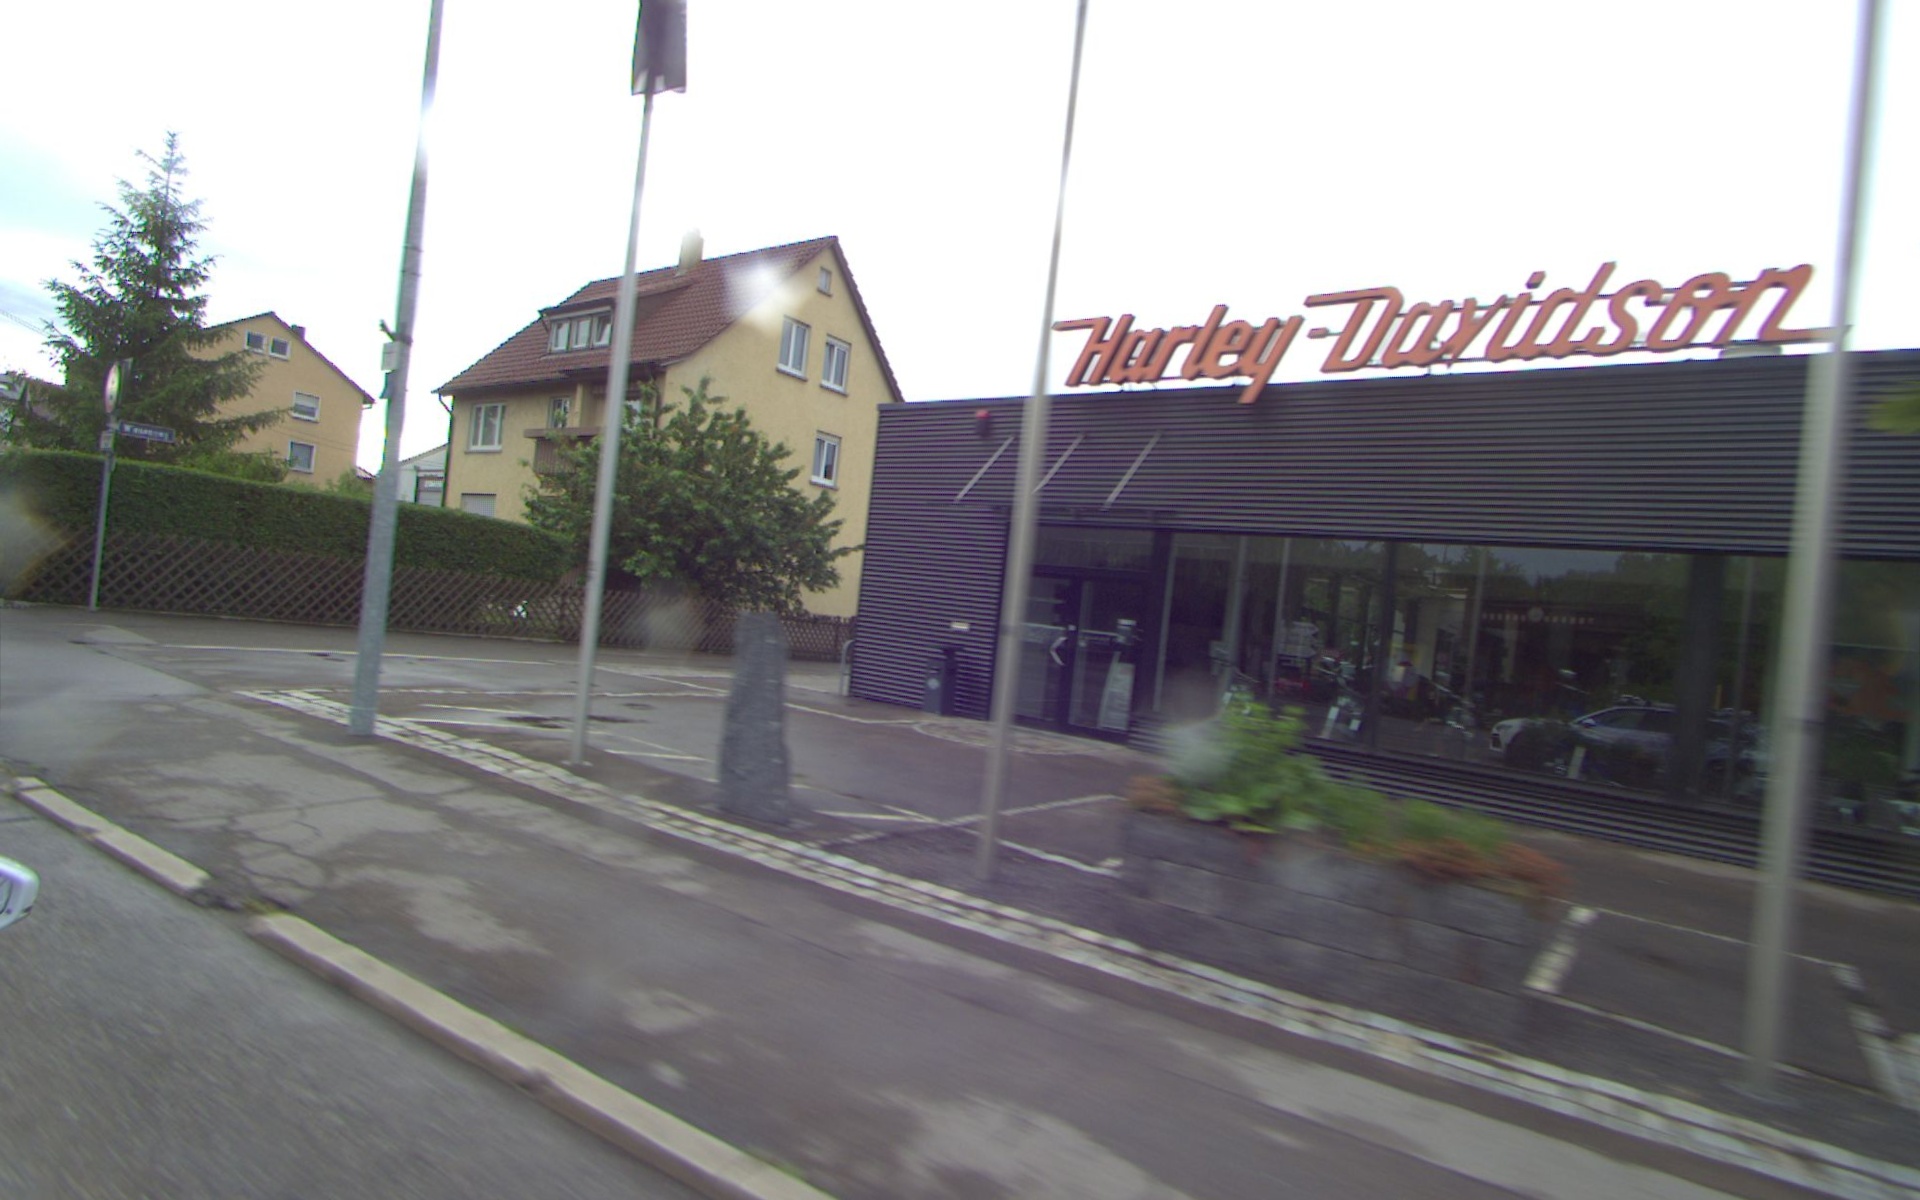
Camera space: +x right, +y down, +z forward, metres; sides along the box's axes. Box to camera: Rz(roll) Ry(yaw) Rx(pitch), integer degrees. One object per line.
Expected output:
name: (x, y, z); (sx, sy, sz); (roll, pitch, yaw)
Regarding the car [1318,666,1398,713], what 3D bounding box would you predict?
car: (17.662, 3.983, 44.566); (1.971, 1.500, 3.987); (8, -3, 40)
